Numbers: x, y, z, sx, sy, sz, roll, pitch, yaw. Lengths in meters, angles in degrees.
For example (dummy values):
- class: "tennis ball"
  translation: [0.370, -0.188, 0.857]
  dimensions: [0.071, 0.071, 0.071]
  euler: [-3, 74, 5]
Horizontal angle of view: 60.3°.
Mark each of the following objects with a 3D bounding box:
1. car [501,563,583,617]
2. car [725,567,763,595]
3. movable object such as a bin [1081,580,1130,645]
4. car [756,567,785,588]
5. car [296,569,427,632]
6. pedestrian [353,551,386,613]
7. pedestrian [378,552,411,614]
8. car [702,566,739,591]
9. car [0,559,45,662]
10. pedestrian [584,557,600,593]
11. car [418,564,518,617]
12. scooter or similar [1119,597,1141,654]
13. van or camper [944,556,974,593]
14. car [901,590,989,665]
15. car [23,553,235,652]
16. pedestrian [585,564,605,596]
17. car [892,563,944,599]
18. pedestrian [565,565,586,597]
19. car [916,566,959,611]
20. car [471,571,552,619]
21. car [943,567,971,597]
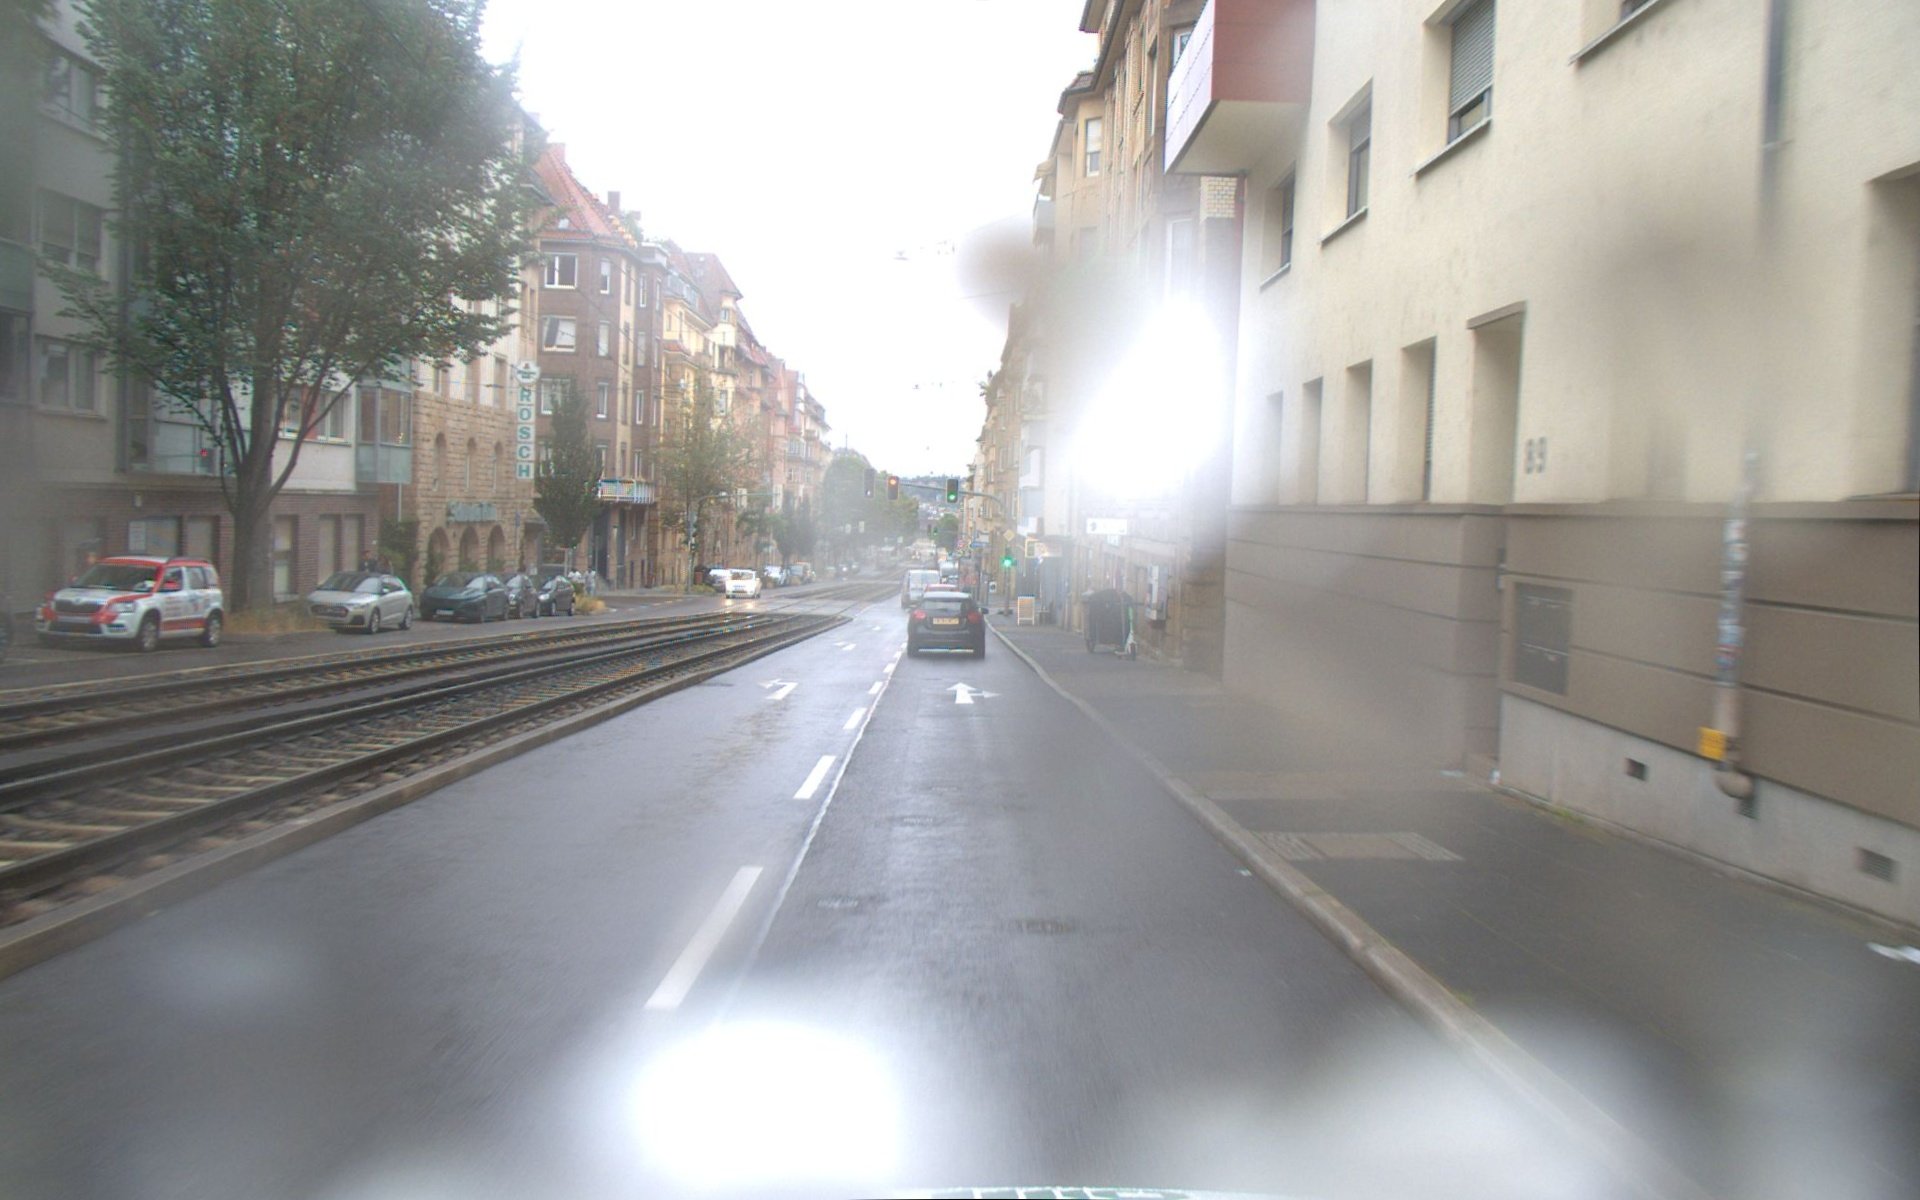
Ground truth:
- class: "car"
  translation: [-15.027, -0.389, 59.683]
  dimensions: [1.848, 1.757, 3.741]
  euler: [4, 1, 1]
- class: "car"
  translation: [-12.149, -1.079, 93.116]
  dimensions: [1.593, 1.508, 3.581]
  euler: [1, 1, 0]
- class: "movable object such as a bin"
  translation: [3.346, 0.273, 38.211]
  dimensions: [0.988, 1.476, 1.393]
  euler: [-1, 1, 0]
- class: "car"
  translation: [-15.489, -1.855, 135.398]
  dimensions: [1.747, 1.617, 4.353]
  euler: [0, 1, 3]
- class: "car"
  translation: [-14.658, -0.015, 40.748]
  dimensions: [1.668, 1.358, 4.130]
  euler: [4, 1, 0]
- class: "pedestrian"
  translation: [-17.449, -0.521, 48.866]
  dimensions: [0.659, 1.803, 0.782]
  euler: [2, 0, 0]
- class: "pedestrian"
  translation: [-16.696, -0.510, 48.883]
  dimensions: [0.659, 1.803, 0.782]
  euler: [2, 0, 0]
- class: "car"
  translation: [-15.260, -1.367, 105.429]
  dimensions: [1.729, 1.512, 4.000]
  euler: [1, 1, 0]
- class: "car"
  translation: [-14.506, 0.146, 22.360]
  dimensions: [1.868, 1.465, 4.468]
  euler: [1, 1, -2]
- class: "pedestrian"
  translation: [-16.783, -1.142, 75.382]
  dimensions: [0.506, 1.598, 0.644]
  euler: [1, 0, 4]
- class: "car"
  translation: [-14.728, -0.301, 49.712]
  dimensions: [1.764, 1.480, 4.430]
  euler: [1, 1, -2]
- class: "scooter or similar"
  translation: [3.456, 0.516, 33.619]
  dimensions: [0.205, 1.131, 0.889]
  euler: [0, -1, -10]
- class: "van or camper"
  translation: [-0.095, -1.820, 117.118]
  dimensions: [2.022, 2.512, 6.118]
  euler: [1, 1, 0]
- class: "car"
  translation: [-0.380, 0.597, 37.965]
  dimensions: [1.907, 1.592, 3.642]
  euler: [1, 1, -2]
- class: "car"
  translation: [-14.624, 0.020, 29.373]
  dimensions: [1.740, 1.596, 4.158]
  euler: [1, 1, -2]
- class: "pedestrian"
  translation: [-16.634, -0.899, 75.349]
  dimensions: [0.738, 1.446, 0.645]
  euler: [1, 0, 1]
- class: "car"
  translation: [-2.139, -0.980, 82.998]
  dimensions: [1.888, 1.684, 3.989]
  euler: [3, 1, -12]
- class: "pedestrian"
  translation: [-17.468, -0.866, 75.144]
  dimensions: [0.739, 1.446, 0.645]
  euler: [2, 0, 1]
- class: "car"
  translation: [-0.835, -0.466, 63.106]
  dimensions: [1.504, 1.536, 4.001]
  euler: [2, 2, 0]
- class: "car"
  translation: [-14.876, -0.176, 54.977]
  dimensions: [1.770, 1.524, 3.525]
  euler: [1, 1, -1]
- class: "car"
  translation: [-0.222, -1.219, 108.499]
  dimensions: [1.732, 1.839, 4.482]
  euler: [2, 1, 0]
